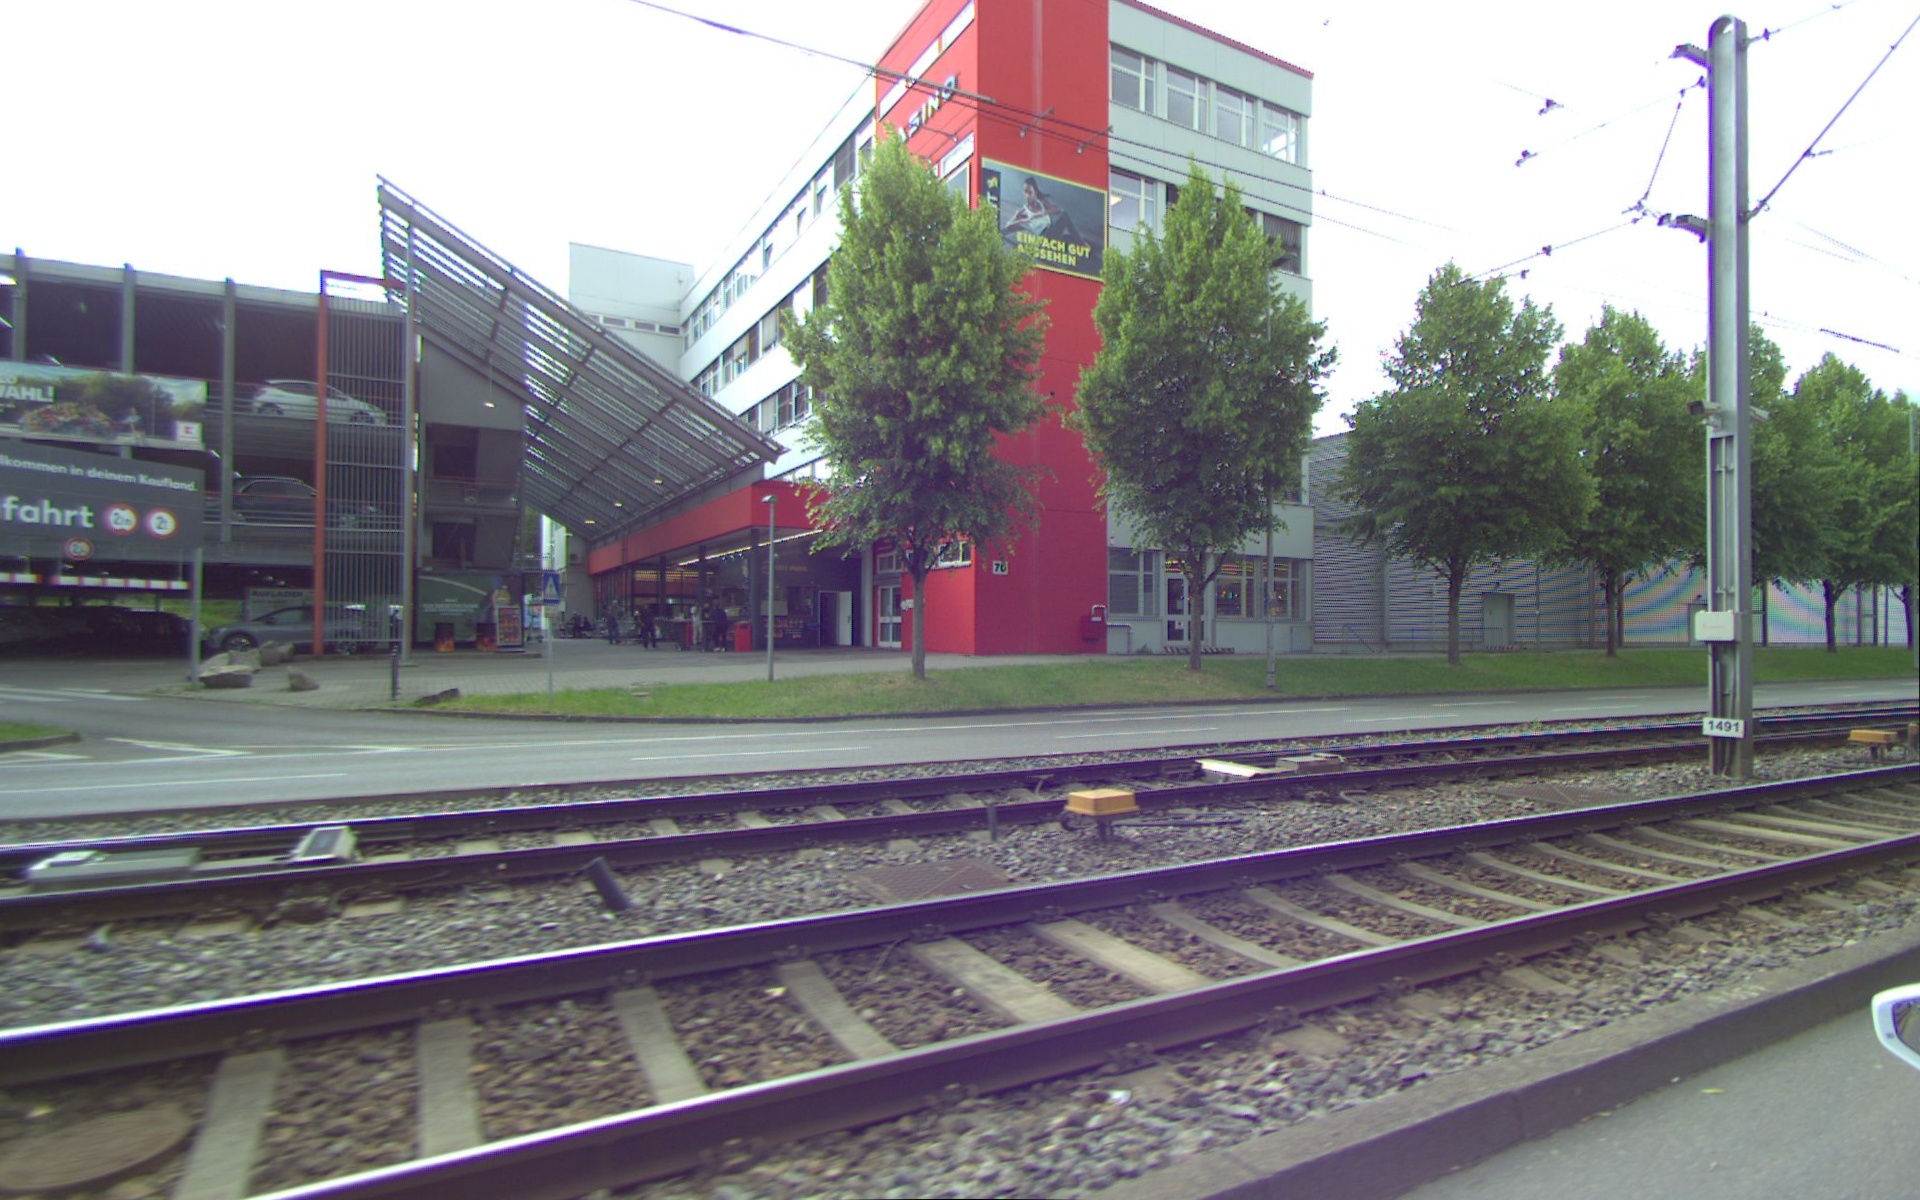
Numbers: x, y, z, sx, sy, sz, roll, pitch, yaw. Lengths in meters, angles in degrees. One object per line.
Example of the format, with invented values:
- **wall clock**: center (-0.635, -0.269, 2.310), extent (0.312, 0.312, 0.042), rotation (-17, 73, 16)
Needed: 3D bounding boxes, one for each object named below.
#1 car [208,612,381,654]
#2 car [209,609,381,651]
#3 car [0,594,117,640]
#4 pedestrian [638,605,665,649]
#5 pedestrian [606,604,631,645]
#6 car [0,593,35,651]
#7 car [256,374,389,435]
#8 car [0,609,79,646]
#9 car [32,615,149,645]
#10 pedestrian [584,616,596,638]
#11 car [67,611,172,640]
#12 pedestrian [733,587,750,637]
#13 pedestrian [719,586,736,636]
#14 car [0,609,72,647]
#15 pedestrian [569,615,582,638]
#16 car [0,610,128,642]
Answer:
- **car**: center (-20.767, 1.058, 31.574), extent (4.398, 1.242, 1.447), rotation (2, -2, -30)
- **car**: center (-20.758, 0.955, 31.578), extent (4.398, 1.242, 1.429), rotation (1, -1, -30)
- **car**: center (-38.881, 0.749, 43.013), extent (3.955, 1.886, 1.779), rotation (1, -1, -32)
- **pedestrian**: center (-12.056, 1.069, 39.227), extent (0.856, 1.717, 0.734), rotation (1, -3, -30)
- **pedestrian**: center (-14.654, 1.046, 43.076), extent (0.856, 1.717, 0.734), rotation (1, -3, -30)
- **car**: center (-33.228, 0.692, 32.921), extent (3.955, 1.911, 1.779), rotation (1, -1, -32)
- **car**: center (-20.248, -6.203, 32.064), extent (3.465, 1.242, 1.448), rotation (2, -1, -30)
- **car**: center (-37.131, 1.057, 39.092), extent (3.955, 1.408, 1.779), rotation (1, -1, -32)
- **car**: center (-41.585, 1.435, 48.152), extent (3.955, 1.408, 1.779), rotation (1, -1, -32)
- **pedestrian**: center (-21.156, 1.530, 57.441), extent (0.597, 1.238, 0.595), rotation (1, -1, -27)
- **car**: center (-44.133, 1.354, 52.848), extent (3.956, 1.407, 1.779), rotation (3, -2, -32)
- **pedestrian**: center (-9.076, 0.490, 41.776), extent (0.546, 2.040, 0.598), rotation (1, -3, -28)
- **pedestrian**: center (-9.596, 0.463, 41.494), extent (0.546, 2.040, 0.598), rotation (1, -3, -28)
- **car**: center (-35.749, 1.024, 37.210), extent (3.955, 1.408, 1.779), rotation (1, -1, -32)
- **pedestrian**: center (-21.784, 1.500, 56.871), extent (0.597, 1.238, 0.595), rotation (1, -1, -27)
- **car**: center (-39.942, 1.173, 44.918), extent (3.955, 1.408, 1.779), rotation (1, -1, -32)
